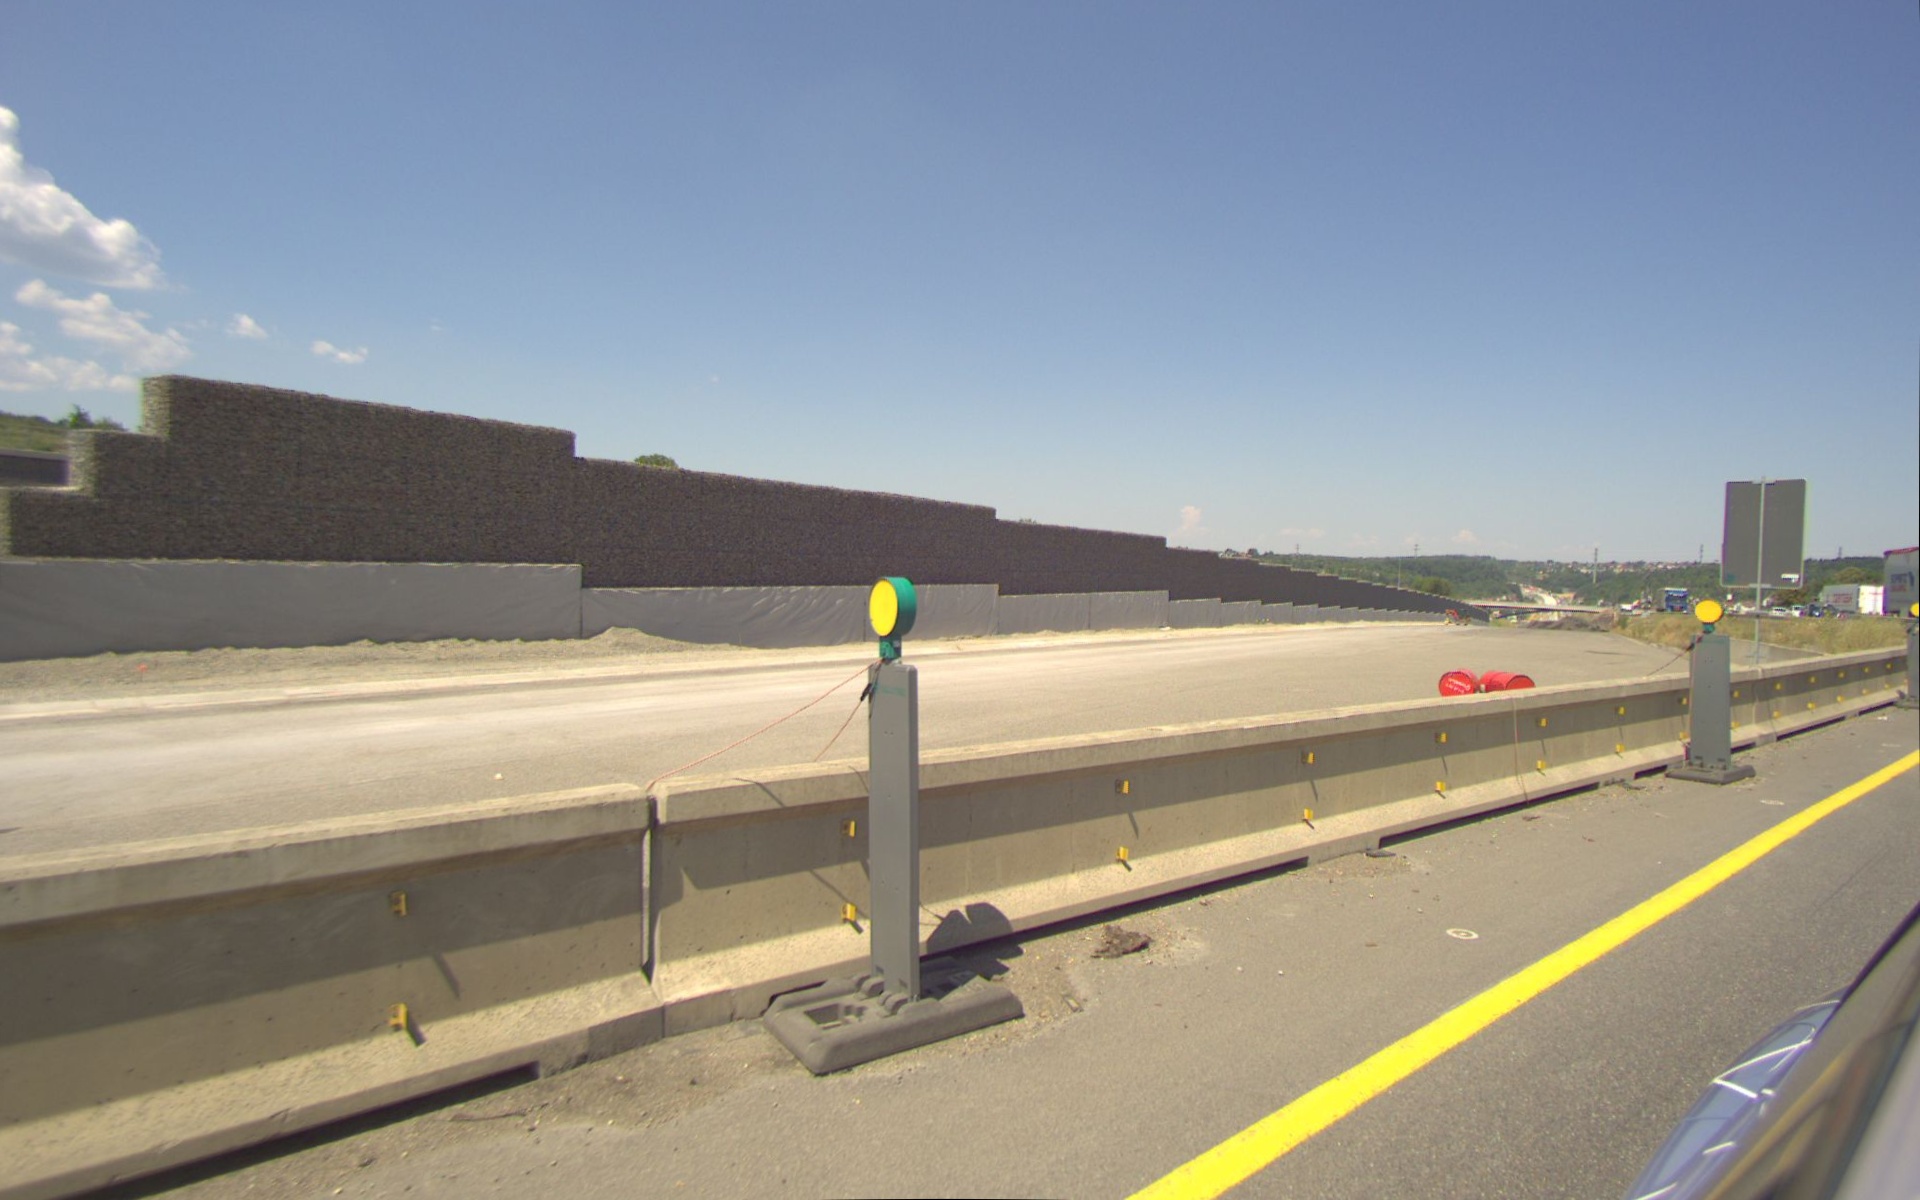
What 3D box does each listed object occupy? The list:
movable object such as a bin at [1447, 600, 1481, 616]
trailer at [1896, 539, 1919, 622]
[{"bbox_3d":[76.511,1.190,153.702,4.060,2.174,1.761,2,1,4],"label":"movable object such as a bin"},{"bbox_3d":[45.158,-0.833,45.098,2.684,3.922,12.279,3,2,32],"label":"trailer"}]
